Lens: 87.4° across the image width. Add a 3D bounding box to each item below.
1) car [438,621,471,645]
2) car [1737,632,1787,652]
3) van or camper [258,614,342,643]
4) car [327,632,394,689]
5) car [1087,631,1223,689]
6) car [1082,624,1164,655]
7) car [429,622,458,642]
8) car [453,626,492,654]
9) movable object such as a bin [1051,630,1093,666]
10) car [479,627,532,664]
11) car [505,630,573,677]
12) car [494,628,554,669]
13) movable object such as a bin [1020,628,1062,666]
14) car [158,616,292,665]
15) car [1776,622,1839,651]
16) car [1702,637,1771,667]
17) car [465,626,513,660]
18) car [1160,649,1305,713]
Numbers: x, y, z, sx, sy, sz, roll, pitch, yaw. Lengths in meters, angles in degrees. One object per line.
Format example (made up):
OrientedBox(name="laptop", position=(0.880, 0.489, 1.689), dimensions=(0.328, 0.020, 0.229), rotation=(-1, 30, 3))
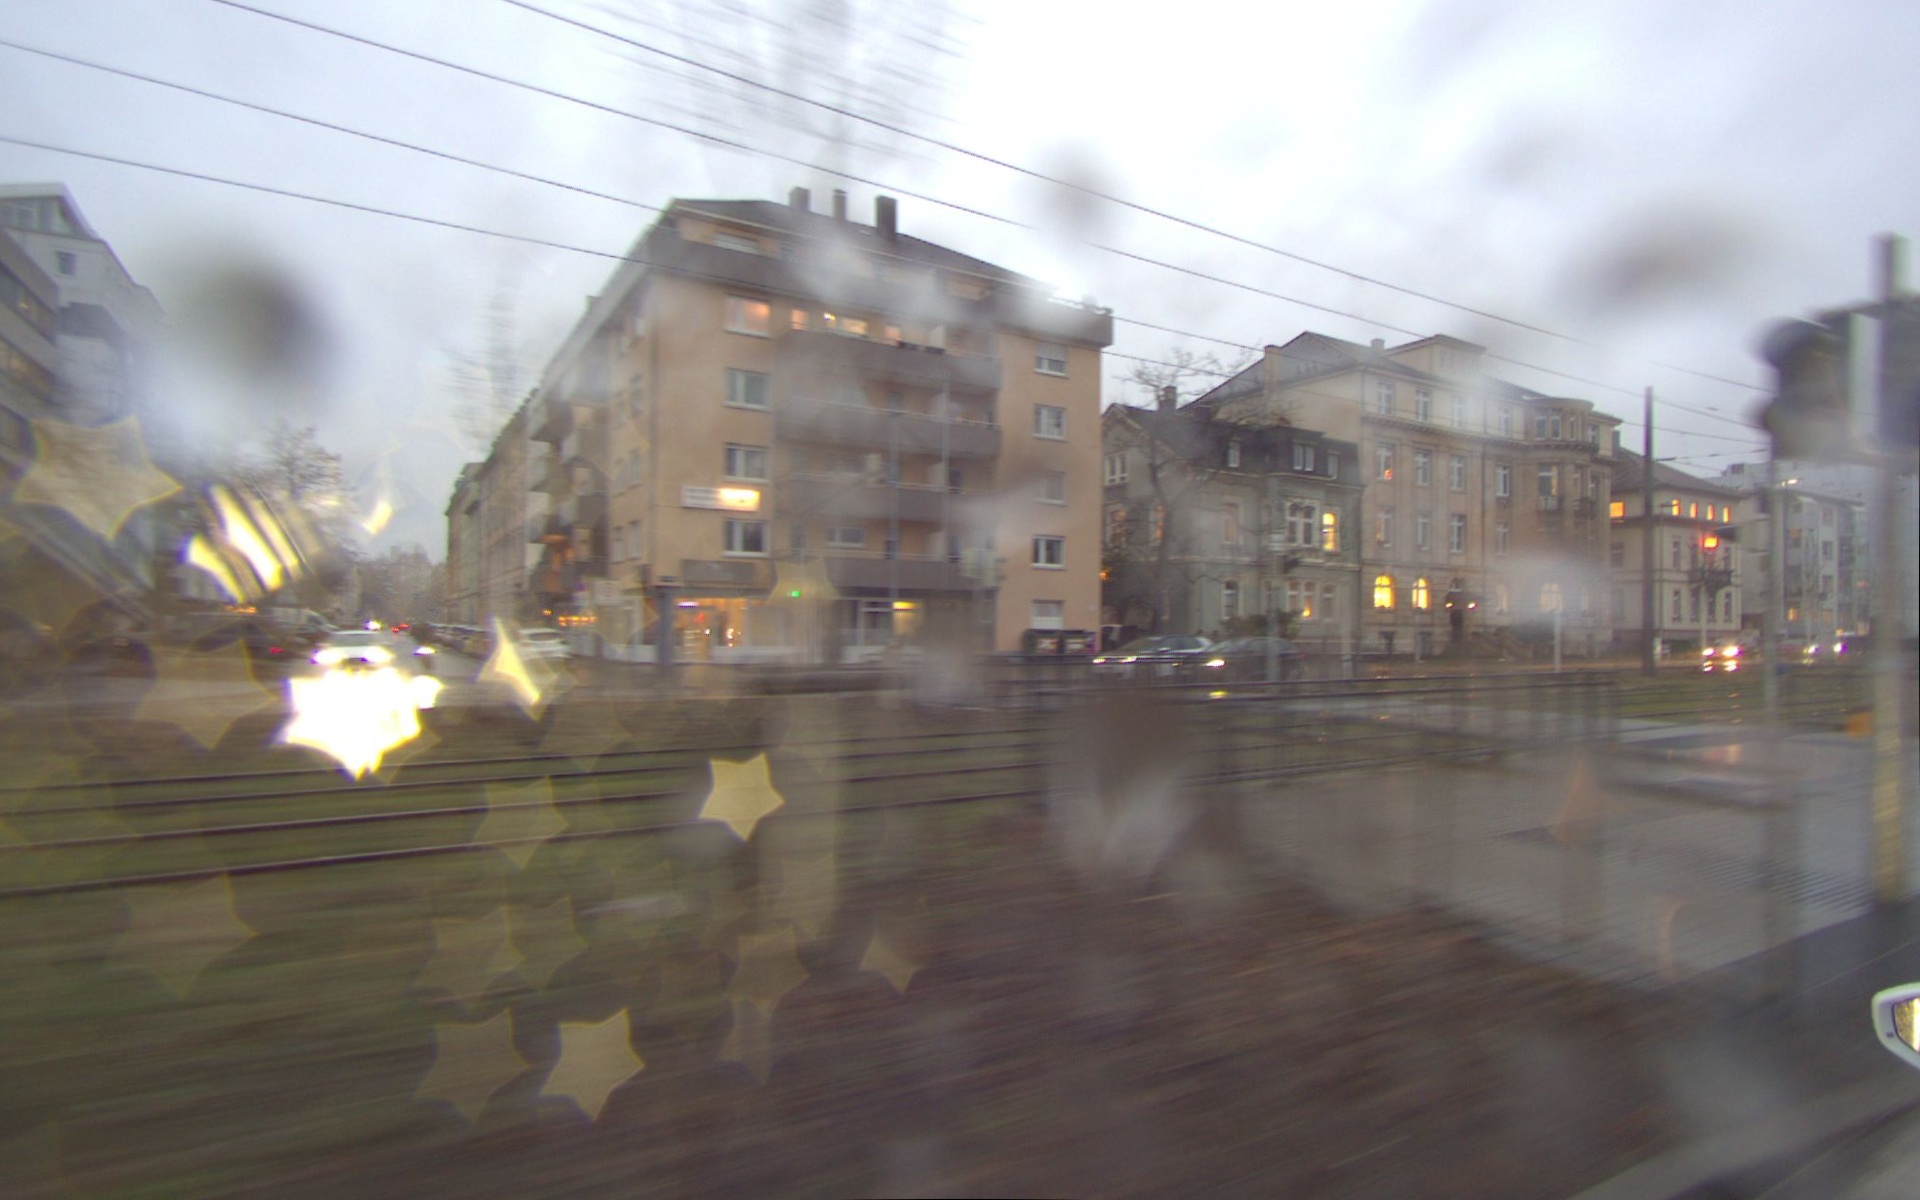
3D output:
OrientedBox(name="car", position=(-34.800, 2.281, 69.148), dimensions=(1.738, 1.572, 3.806), rotation=(1, -1, -31))
OrientedBox(name="car", position=(58.511, 3.051, 73.278), dimensions=(3.886, 1.455, 1.796), rotation=(1, -2, -34))
OrientedBox(name="van or camper", position=(-53.463, 2.291, 81.534), dimensions=(5.567, 2.272, 1.984), rotation=(1, -1, -30))
OrientedBox(name="car", position=(-19.199, 1.880, 32.099), dimensions=(1.668, 1.532, 3.963), rotation=(2, 0, -33))
OrientedBox(name="car", position=(6.087, 1.833, 31.224), dimensions=(3.956, 1.606, 1.791), rotation=(2, 0, -32))
OrientedBox(name="car", position=(7.966, 1.912, 49.358), dimensions=(1.813, 1.425, 3.966), rotation=(1, -1, -32))
OrientedBox(name="car", position=(-41.258, 2.555, 80.236), dimensions=(1.738, 1.572, 3.806), rotation=(1, -1, -31))
OrientedBox(name="car", position=(-29.197, 2.361, 60.102), dimensions=(1.738, 1.572, 3.806), rotation=(1, -1, -31))
OrientedBox(name="movable object such as a bin", position=(4.812, 2.062, 43.158), dimensions=(1.410, 1.500, 1.101), rotation=(1, -2, -34))
OrientedBox(name="car", position=(-20.934, 2.048, 46.172), dimensions=(1.738, 1.572, 3.806), rotation=(1, -1, -31))
OrientedBox(name="car", position=(-15.657, 1.939, 37.284), dimensions=(1.758, 1.572, 3.806), rotation=(1, -1, -31))
OrientedBox(name="car", position=(-18.127, 1.971, 41.679), dimensions=(1.738, 1.572, 3.806), rotation=(1, -1, -31))
OrientedBox(name="movable object such as a bin", position=(3.422, 1.981, 42.362), dimensions=(1.410, 1.581, 1.101), rotation=(1, -2, -34))
OrientedBox(name="car", position=(-25.227, 1.384, 34.630), dimensions=(3.601, 1.622, 1.607), rotation=(1, -1, -33))
OrientedBox(name="car", position=(58.360, 2.479, 69.149), dimensions=(4.860, 1.958, 1.982), rotation=(1, -2, -34))
OrientedBox(name="car", position=(45.481, 3.017, 58.836), dimensions=(4.068, 1.715, 1.982), rotation=(1, -2, -34))
OrientedBox(name="car", position=(-23.812, 2.146, 50.719), dimensions=(1.738, 1.572, 3.806), rotation=(1, -1, -31))
OrientedBox(name="car", position=(7.833, 2.266, 28.813), dimensions=(3.956, 1.606, 1.791), rotation=(2, 0, -32))
